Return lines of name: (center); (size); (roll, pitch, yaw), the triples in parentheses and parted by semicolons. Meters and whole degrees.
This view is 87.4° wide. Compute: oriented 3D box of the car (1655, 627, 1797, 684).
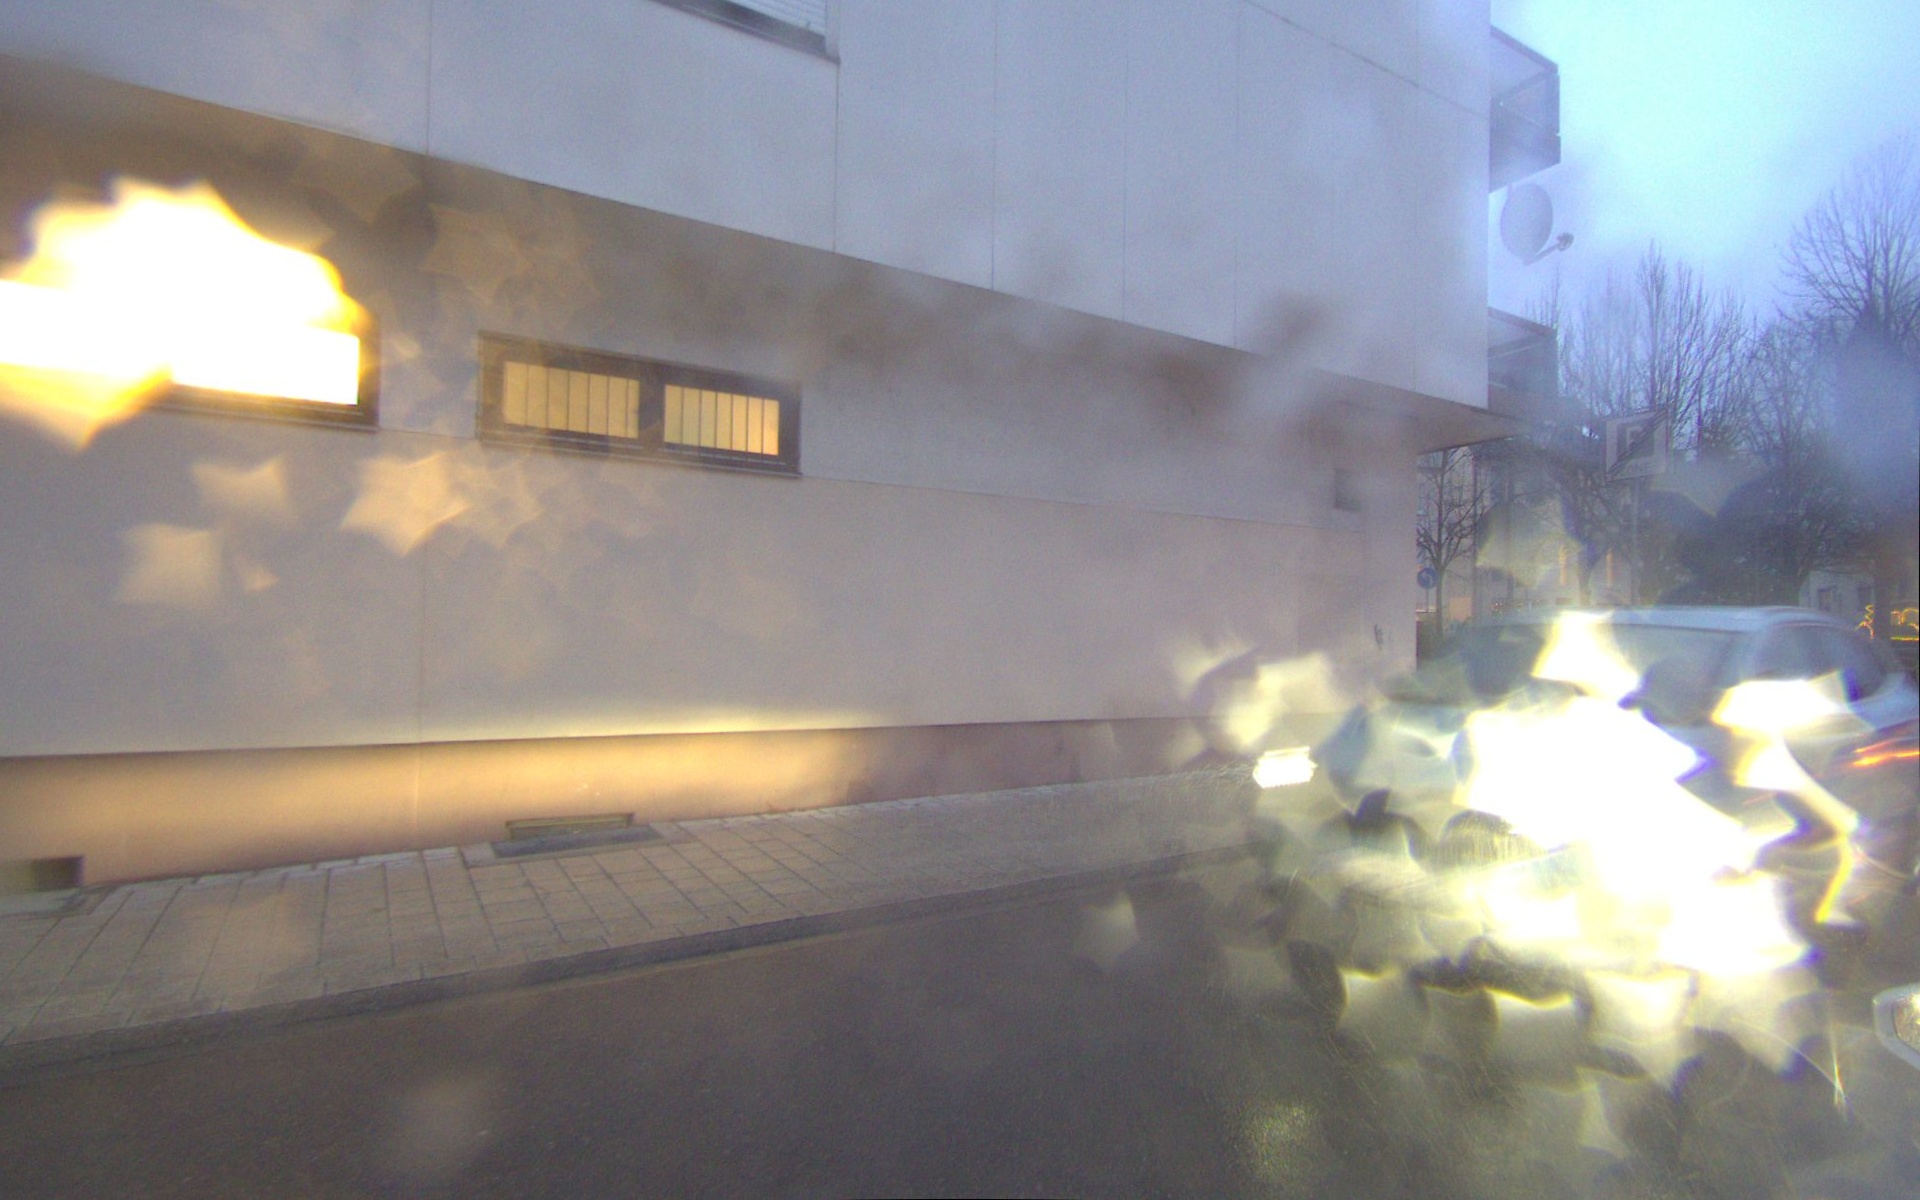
car: (28.001, 1.996, 36.883); (1.786, 1.936, 3.993); (0, -1, -10)

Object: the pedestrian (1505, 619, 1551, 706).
pedestrian: (9.933, 1.070, 17.583); (0.638, 1.478, 0.650); (0, 0, 24)

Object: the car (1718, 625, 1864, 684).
car: (30.899, 1.979, 37.507); (1.786, 2.025, 3.993); (0, -1, -10)

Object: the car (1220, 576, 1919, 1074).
car: (3.526, 0.776, 5.249); (4.353, 1.617, 1.800); (1, -1, -34)
